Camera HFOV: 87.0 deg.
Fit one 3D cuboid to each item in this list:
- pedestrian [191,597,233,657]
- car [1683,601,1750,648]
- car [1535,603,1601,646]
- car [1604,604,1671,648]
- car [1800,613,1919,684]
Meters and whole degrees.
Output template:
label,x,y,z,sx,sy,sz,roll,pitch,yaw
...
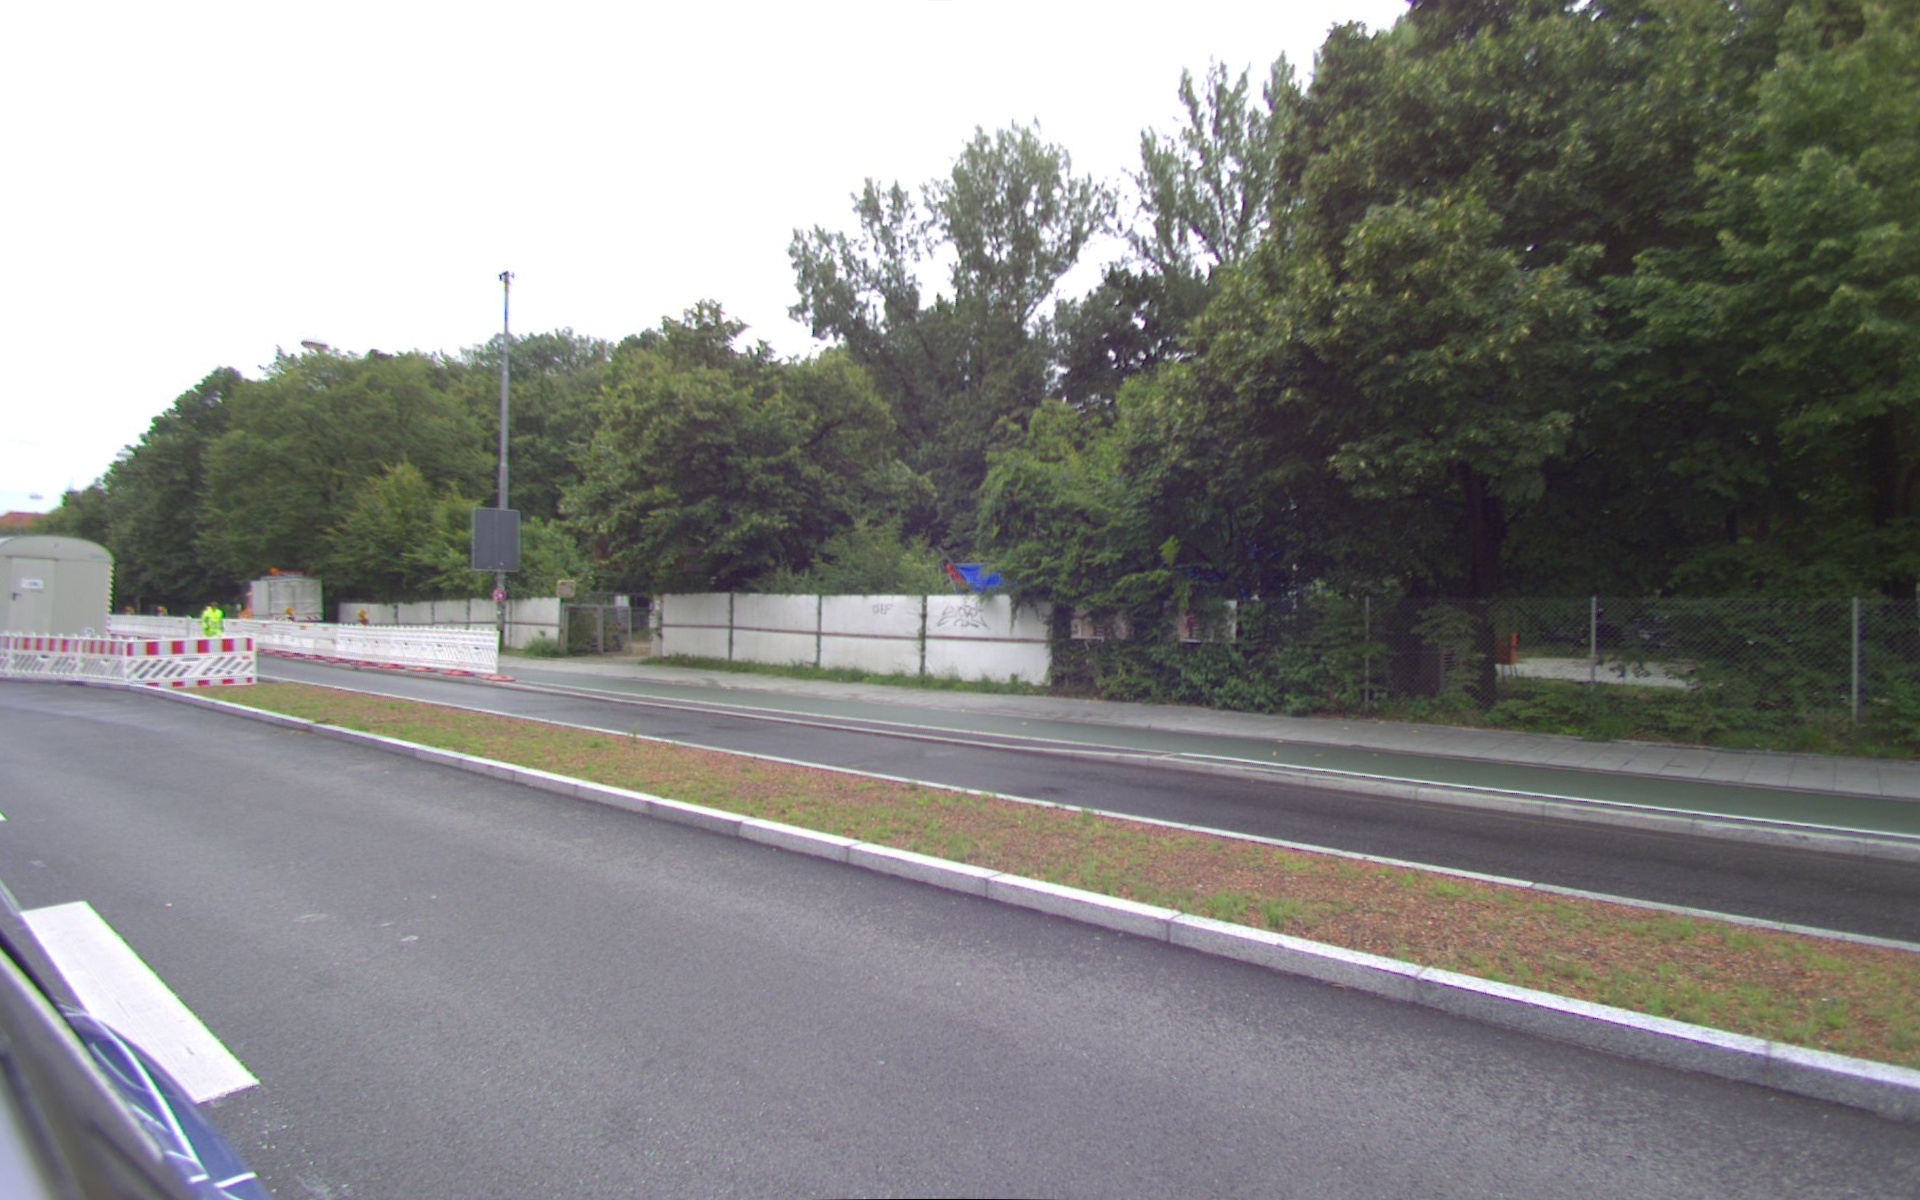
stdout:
label,x,y,z,sx,sy,sz,roll,pitch,yaw
pedestrian,-24.574,0.882,33.231,0.874,1.956,0.879,-1,-2,38
car,29.545,0.960,39.498,1.997,1.732,3.948,-1,-1,38
car,25.890,1.023,43.044,1.997,1.732,3.949,0,-1,37
car,28.003,1.068,41.784,1.997,1.732,3.948,-1,-1,38
car,21.759,1.094,23.048,3.996,1.556,1.753,0,-1,39
